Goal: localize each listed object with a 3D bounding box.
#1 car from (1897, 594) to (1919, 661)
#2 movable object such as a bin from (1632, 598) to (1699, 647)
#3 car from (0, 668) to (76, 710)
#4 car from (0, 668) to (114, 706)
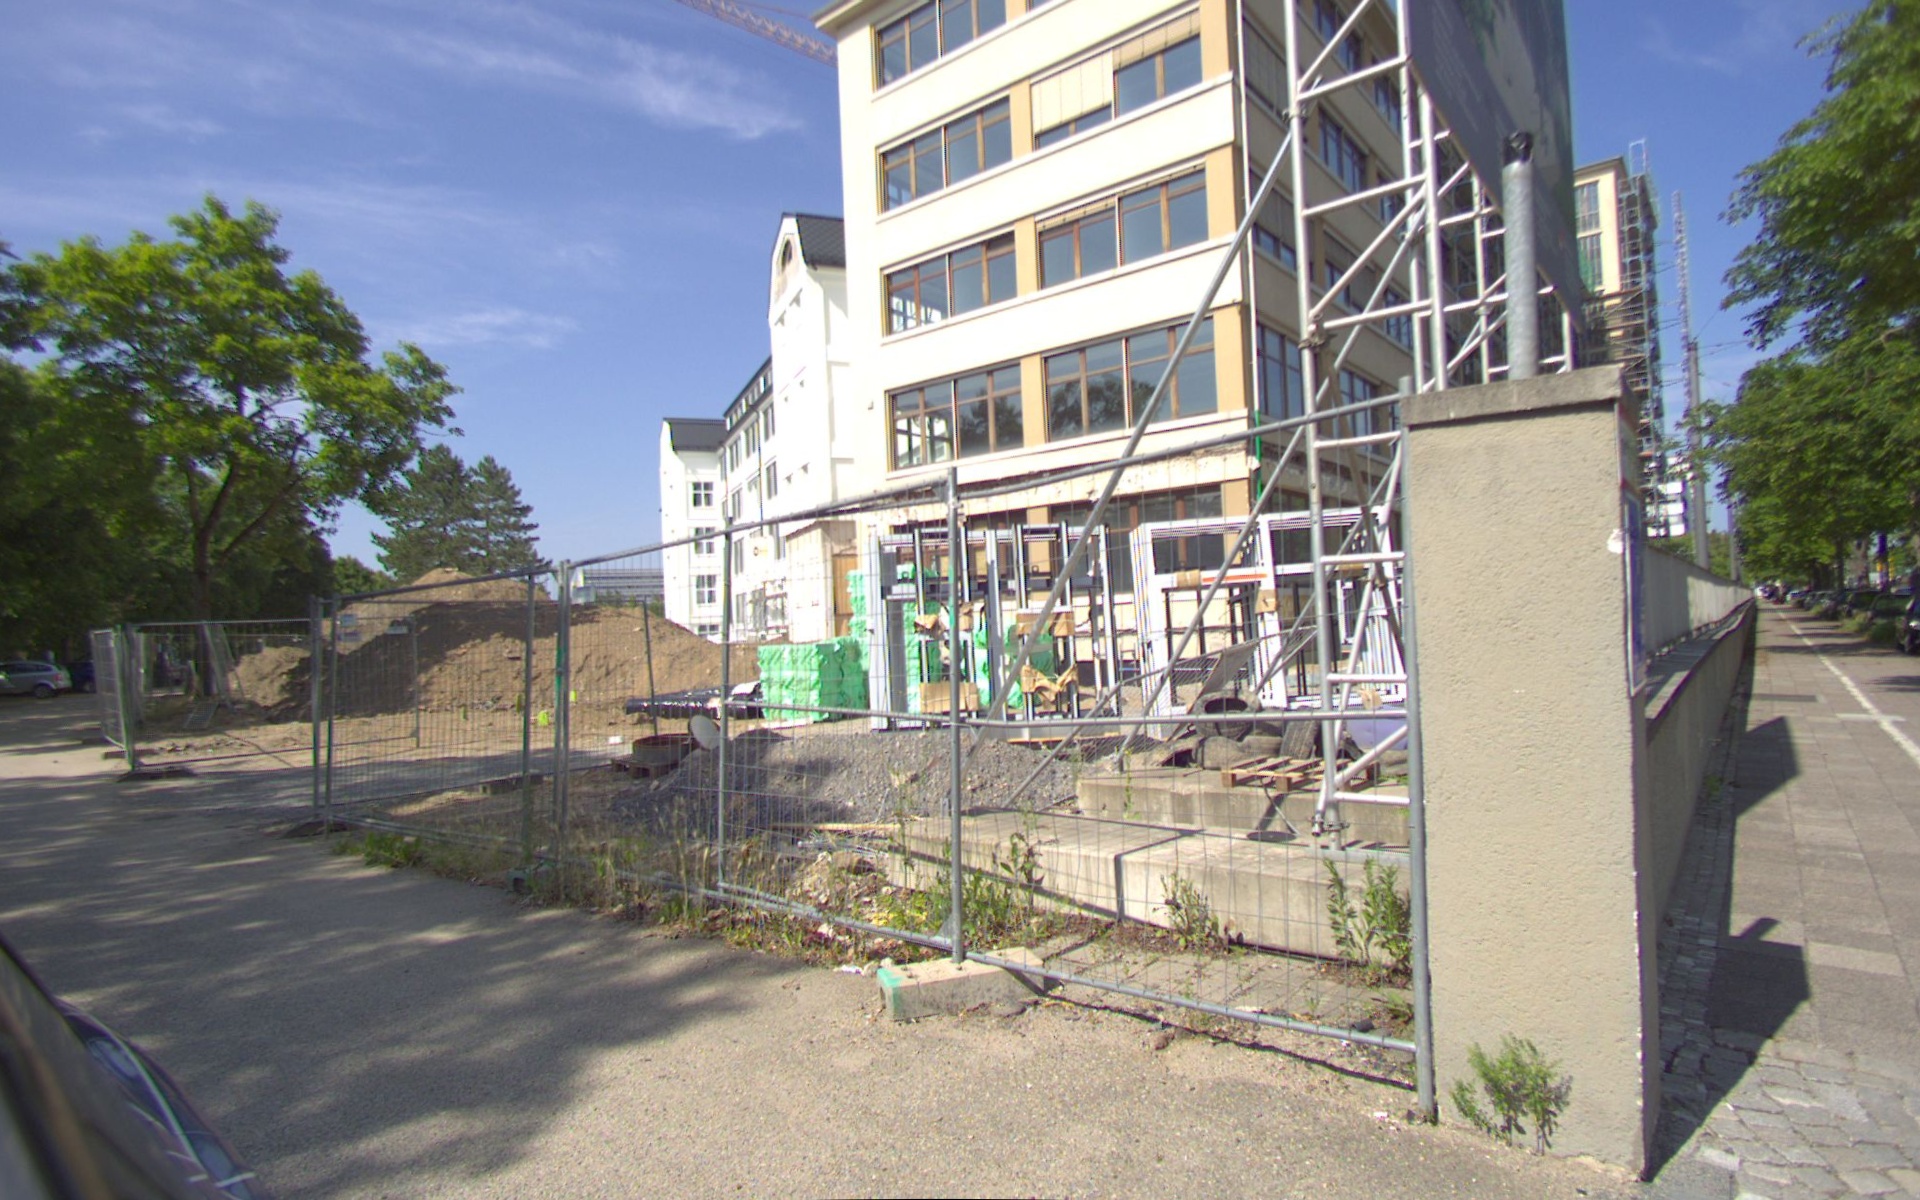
[{"bbox_3d":[22.839,0.568,23.027,1.819,1.464,3.949,-4,-2,38],"label":"car"},{"bbox_3d":[28.856,0.895,41.336,1.770,1.856,3.946,-4,-2,41],"label":"movable object such as a bin"},{"bbox_3d":[-38.072,3.585,40.343,3.932,1.519,2.006,-1,-2,-31],"label":"car"},{"bbox_3d":[-40.491,3.870,45.166,3.932,1.453,2.006,-1,-2,-31],"label":"car"}]
